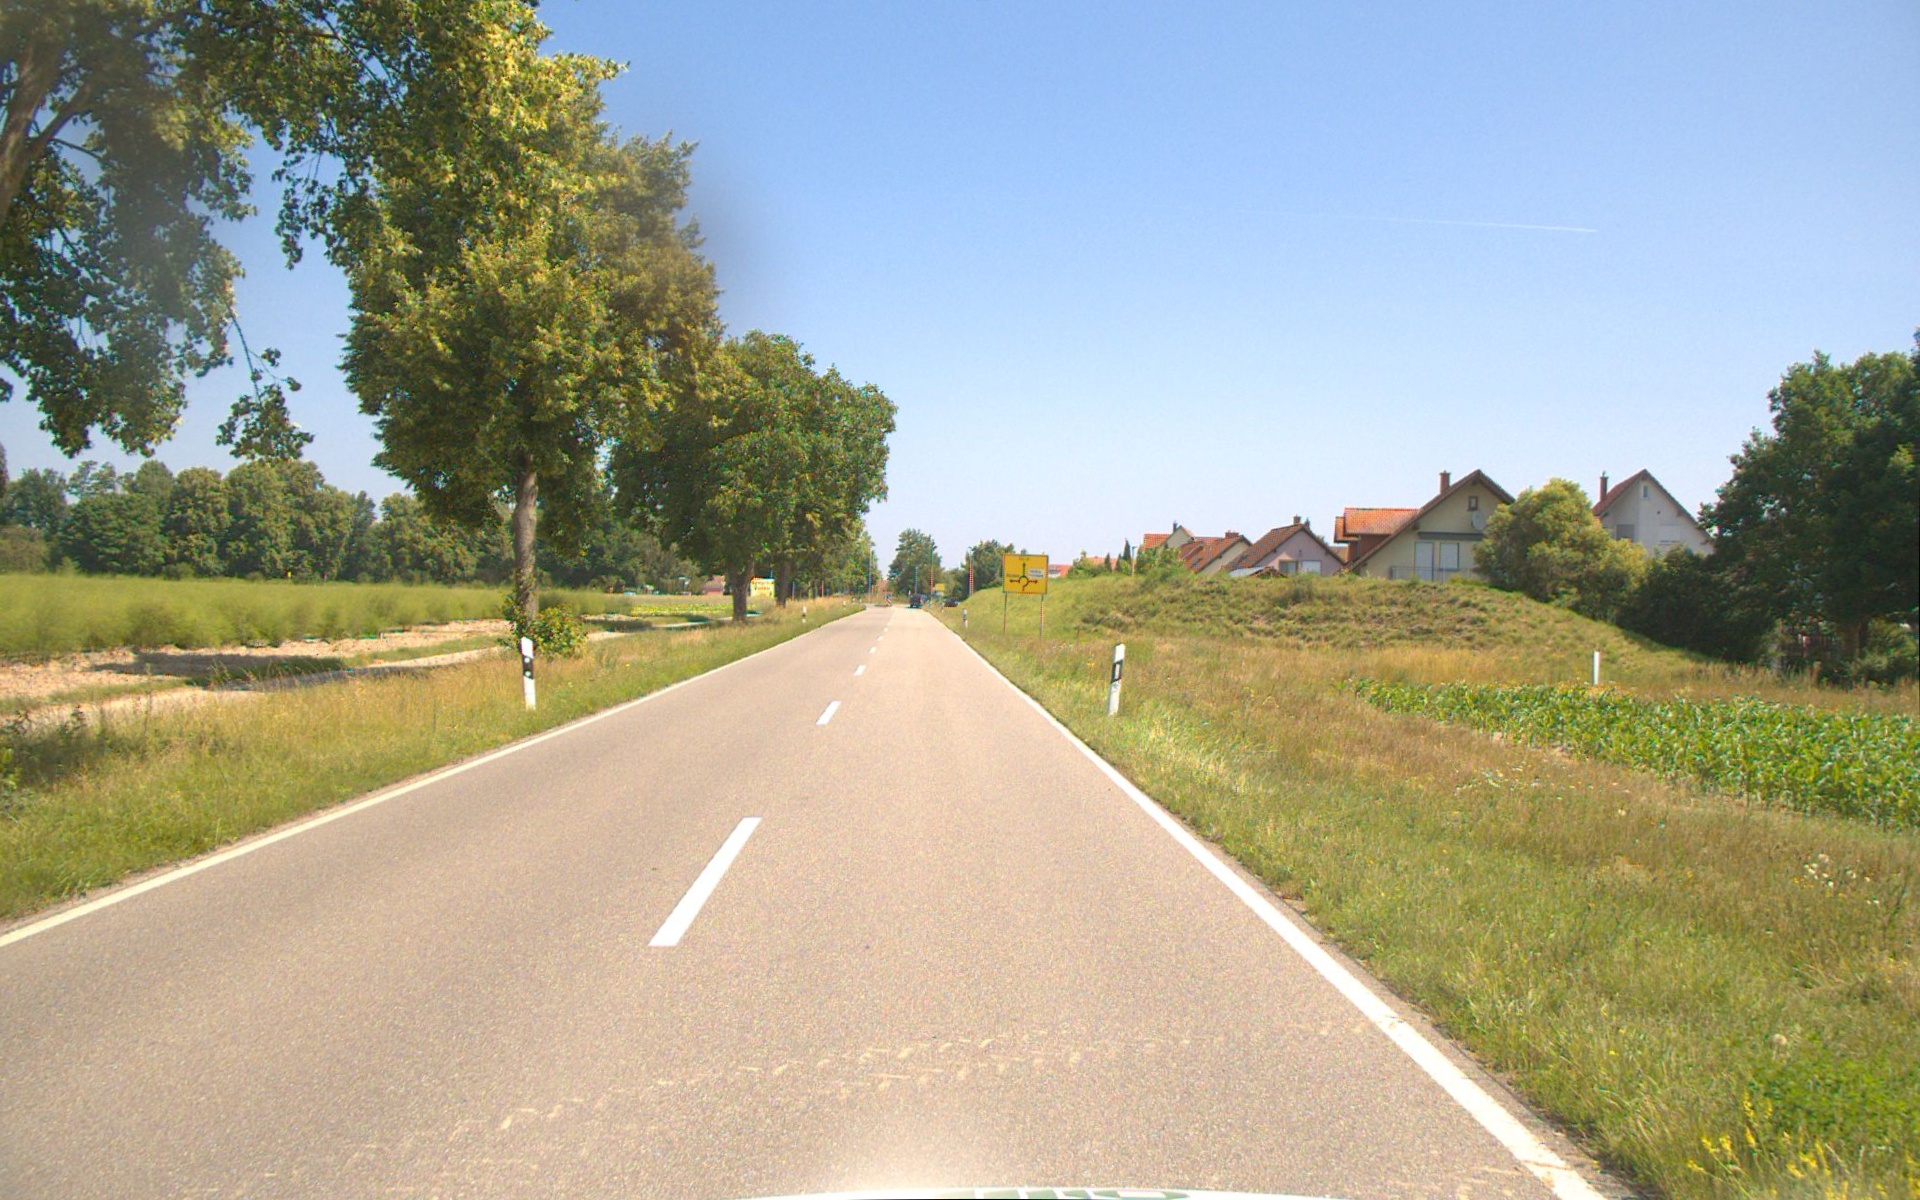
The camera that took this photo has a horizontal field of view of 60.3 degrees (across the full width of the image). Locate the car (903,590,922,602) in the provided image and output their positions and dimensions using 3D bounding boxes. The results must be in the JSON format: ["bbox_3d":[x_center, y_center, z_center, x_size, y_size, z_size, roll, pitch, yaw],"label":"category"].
[{"bbox_3d":[-6.067,-0.488,211.790,1.799,1.563,3.613,1,0,9],"label":"car"}]
